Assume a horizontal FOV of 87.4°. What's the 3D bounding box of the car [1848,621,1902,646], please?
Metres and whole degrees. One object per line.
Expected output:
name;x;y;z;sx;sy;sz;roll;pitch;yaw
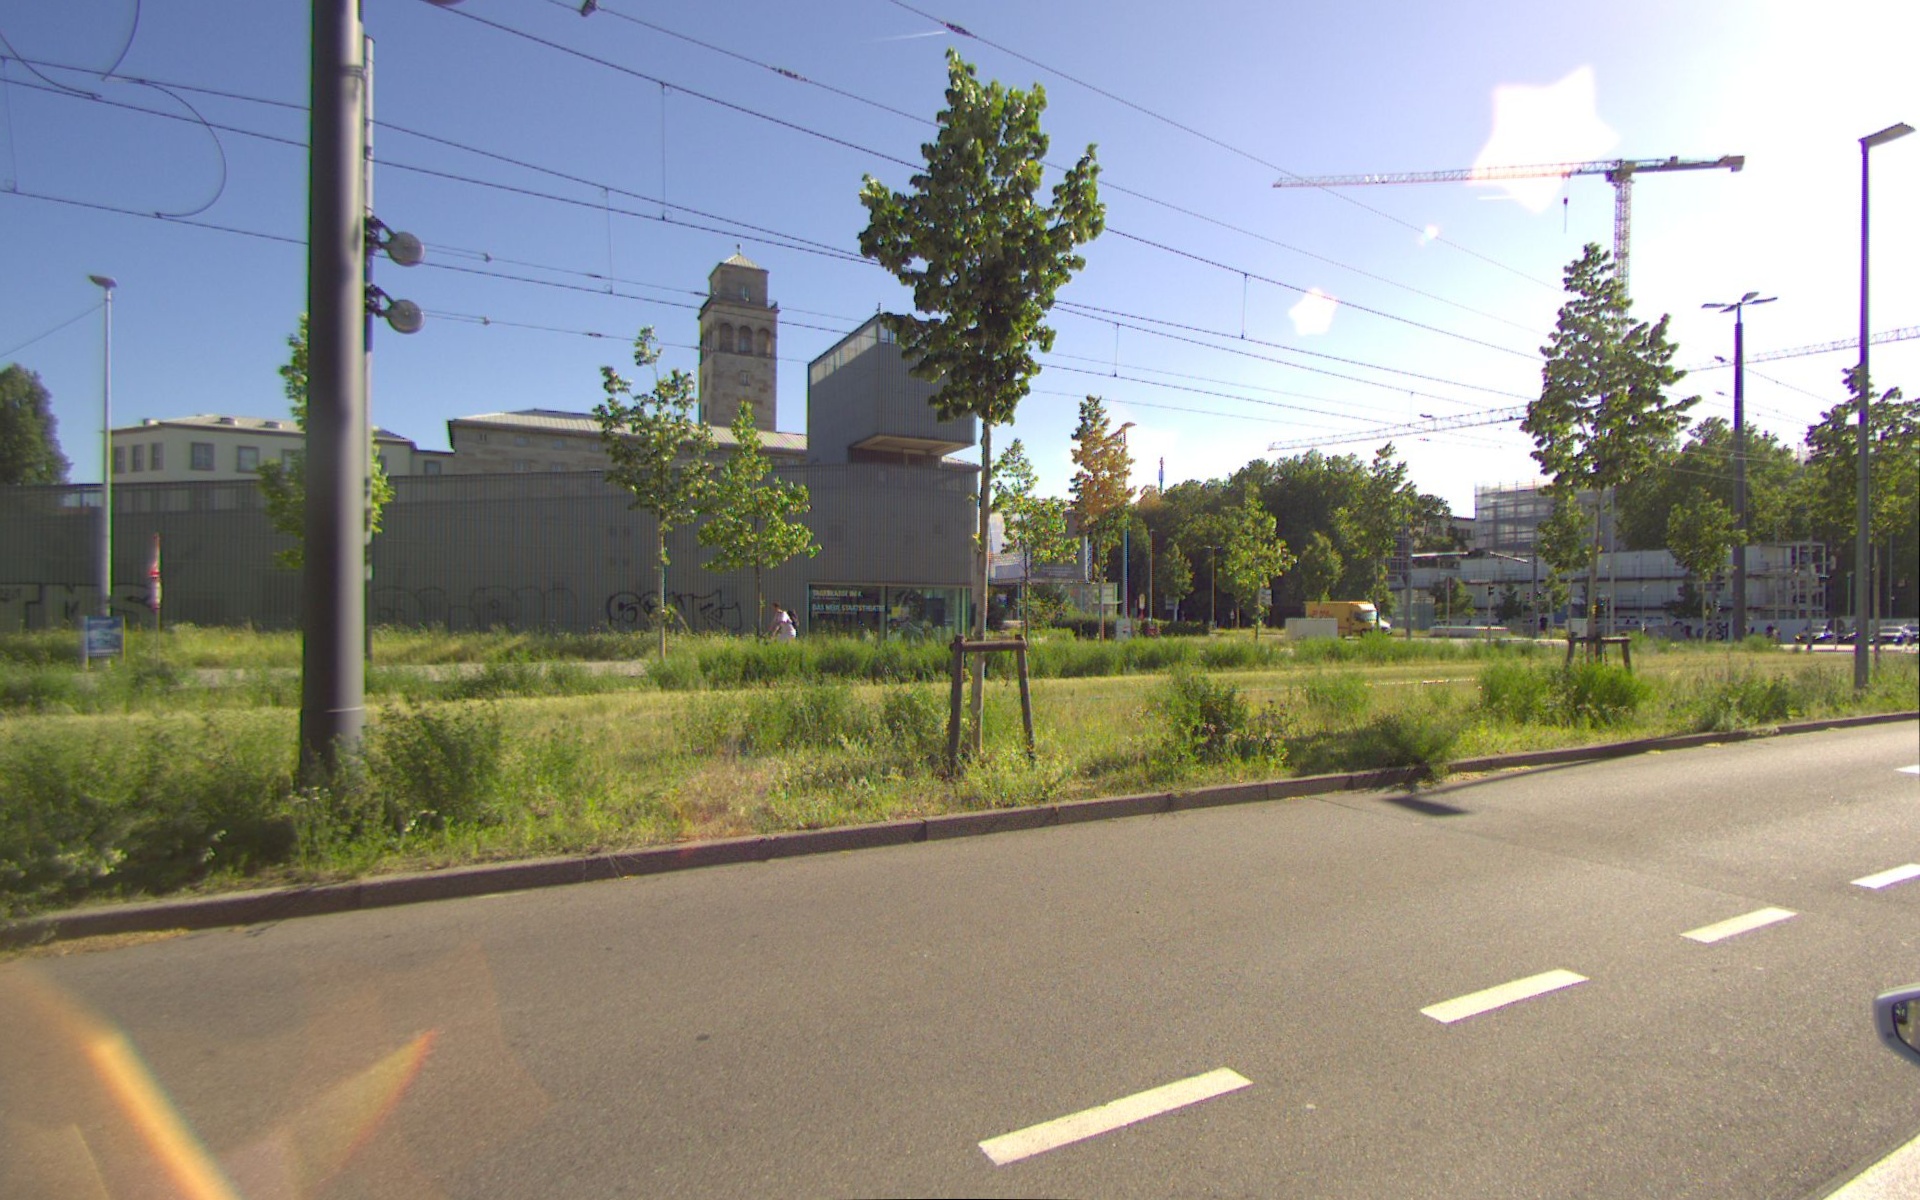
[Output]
car;66.570;2.433;73.068;3.851;1.634;1.828;2;1;-31

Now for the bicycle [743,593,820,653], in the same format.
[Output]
bicycle;-4.470;0.564;25.248;1.891;1.475;0.358;0;0;-30

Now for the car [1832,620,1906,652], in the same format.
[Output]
car;37.300;1.466;41.211;3.183;1.194;1.369;2;1;-31

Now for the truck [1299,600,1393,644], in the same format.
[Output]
truck;29.578;1.633;77.241;1.977;3.002;6.929;2;1;-30

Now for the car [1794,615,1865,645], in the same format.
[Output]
car;37.736;1.307;43.595;3.183;1.194;1.369;2;1;-31

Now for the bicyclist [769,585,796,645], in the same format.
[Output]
bicyclist;-4.450;0.376;25.235;0.533;1.474;0.392;1;2;-31

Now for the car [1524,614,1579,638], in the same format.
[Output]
car;42.890;1.874;72.813;3.953;1.577;1.702;2;1;-30
